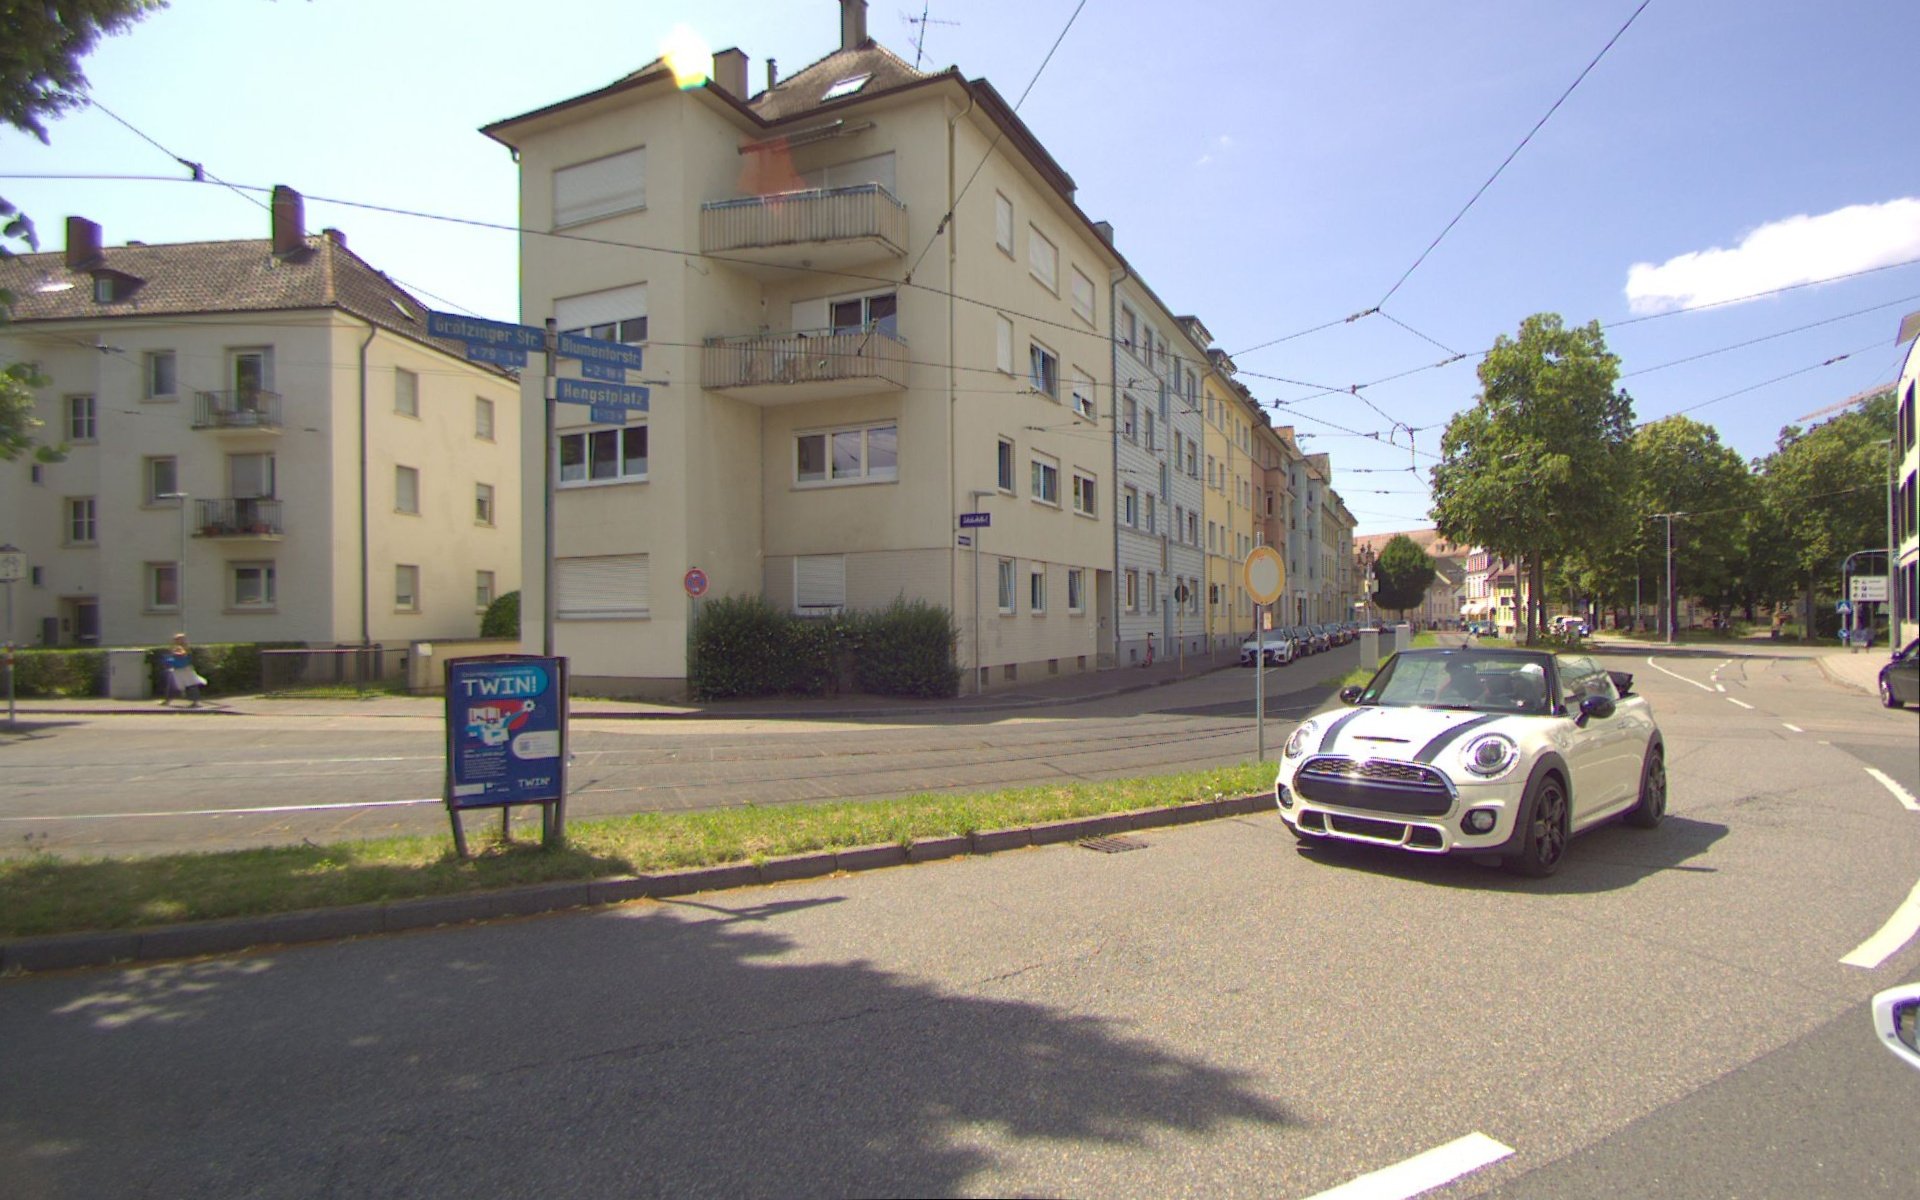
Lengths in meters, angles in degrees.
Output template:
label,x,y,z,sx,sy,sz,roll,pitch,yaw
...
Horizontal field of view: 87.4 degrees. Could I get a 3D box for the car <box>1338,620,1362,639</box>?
label,x,y,z,sx,sy,sz,roll,pitch,yaw
car,32.116,2.422,82.624,1.547,1.470,3.622,-3,-2,25

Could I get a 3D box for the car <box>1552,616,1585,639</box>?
label,x,y,z,sx,sy,sz,roll,pitch,yaw
car,52.425,2.342,86.637,1.962,1.850,4.418,0,-1,25

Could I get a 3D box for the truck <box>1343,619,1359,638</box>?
label,x,y,z,sx,sy,sz,roll,pitch,yaw
truck,33.699,2.441,86.640,1.108,1.514,2.592,-2,-2,24

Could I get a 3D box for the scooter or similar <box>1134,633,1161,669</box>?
label,x,y,z,sx,sy,sz,roll,pitch,yaw
scooter or similar,6.771,1.824,36.188,0.628,1.239,1.320,1,-2,26

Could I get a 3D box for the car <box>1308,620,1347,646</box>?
label,x,y,z,sx,sy,sz,roll,pitch,yaw
car,23.493,2.077,64.126,1.898,1.510,4.858,-3,-2,25

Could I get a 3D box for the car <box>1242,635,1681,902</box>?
label,x,y,z,sx,sy,sz,roll,pitch,yaw
car,3.895,1.010,7.538,3.720,1.483,1.757,2,-2,-43

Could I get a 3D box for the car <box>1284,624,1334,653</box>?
label,x,y,z,sx,sy,sz,roll,pitch,yaw
car,19.121,2.070,54.926,1.898,1.416,4.857,-3,-2,26

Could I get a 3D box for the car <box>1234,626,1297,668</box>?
label,x,y,z,sx,sy,sz,roll,pitch,yaw
car,12.437,1.872,40.692,1.897,1.470,4.374,-3,-2,23

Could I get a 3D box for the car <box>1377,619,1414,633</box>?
label,x,y,z,sx,sy,sz,roll,pitch,yaw
car,53.252,3.195,122.894,4.135,1.524,2.003,-3,-2,22

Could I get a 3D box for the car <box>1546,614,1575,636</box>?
label,x,y,z,sx,sy,sz,roll,pitch,yaw
car,56.292,2.324,94.212,2.018,2.029,5.242,0,-1,27

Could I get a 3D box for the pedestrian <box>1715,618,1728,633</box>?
label,x,y,z,sx,sy,sz,roll,pitch,yaw
pedestrian,69.383,2.326,91.519,0.895,1.269,1.142,0,1,41

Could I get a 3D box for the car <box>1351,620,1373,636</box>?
label,x,y,z,sx,sy,sz,roll,pitch,yaw
car,38.568,2.656,96.350,1.660,1.378,3.854,-3,-2,25

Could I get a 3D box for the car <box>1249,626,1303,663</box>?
label,x,y,z,sx,sy,sz,roll,pitch,yaw
car,14.419,1.981,45.704,1.897,1.525,4.323,-2,-1,23

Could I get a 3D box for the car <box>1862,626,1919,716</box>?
label,x,y,z,sx,sy,sz,roll,pitch,yaw
car,17.931,1.221,17.826,1.774,1.529,4.540,-5,-4,29

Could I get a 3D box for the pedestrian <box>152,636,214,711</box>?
label,x,y,z,sx,sy,sz,roll,pitch,yaw
pedestrian,-17.039,1.598,22.048,0.729,1.580,0.778,0,0,5

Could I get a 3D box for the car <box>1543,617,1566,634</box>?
label,x,y,z,sx,sy,sz,roll,pitch,yaw
car,59.732,2.521,100.966,1.756,1.645,4.480,0,-1,27

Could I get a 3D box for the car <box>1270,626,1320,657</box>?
label,x,y,z,sx,sy,sz,roll,pitch,yaw
car,16.712,2.040,50.013,1.802,1.418,4.138,-2,-1,26

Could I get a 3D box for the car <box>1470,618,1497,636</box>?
label,x,y,z,sx,sy,sz,roll,pitch,yaw
car,47.877,2.428,91.949,1.873,1.554,4.241,1,-1,23

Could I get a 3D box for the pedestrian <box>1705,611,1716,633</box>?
label,x,y,z,sx,sy,sz,roll,pitch,yaw
pedestrian,68.752,2.009,92.050,0.739,1.936,0.681,0,1,41
